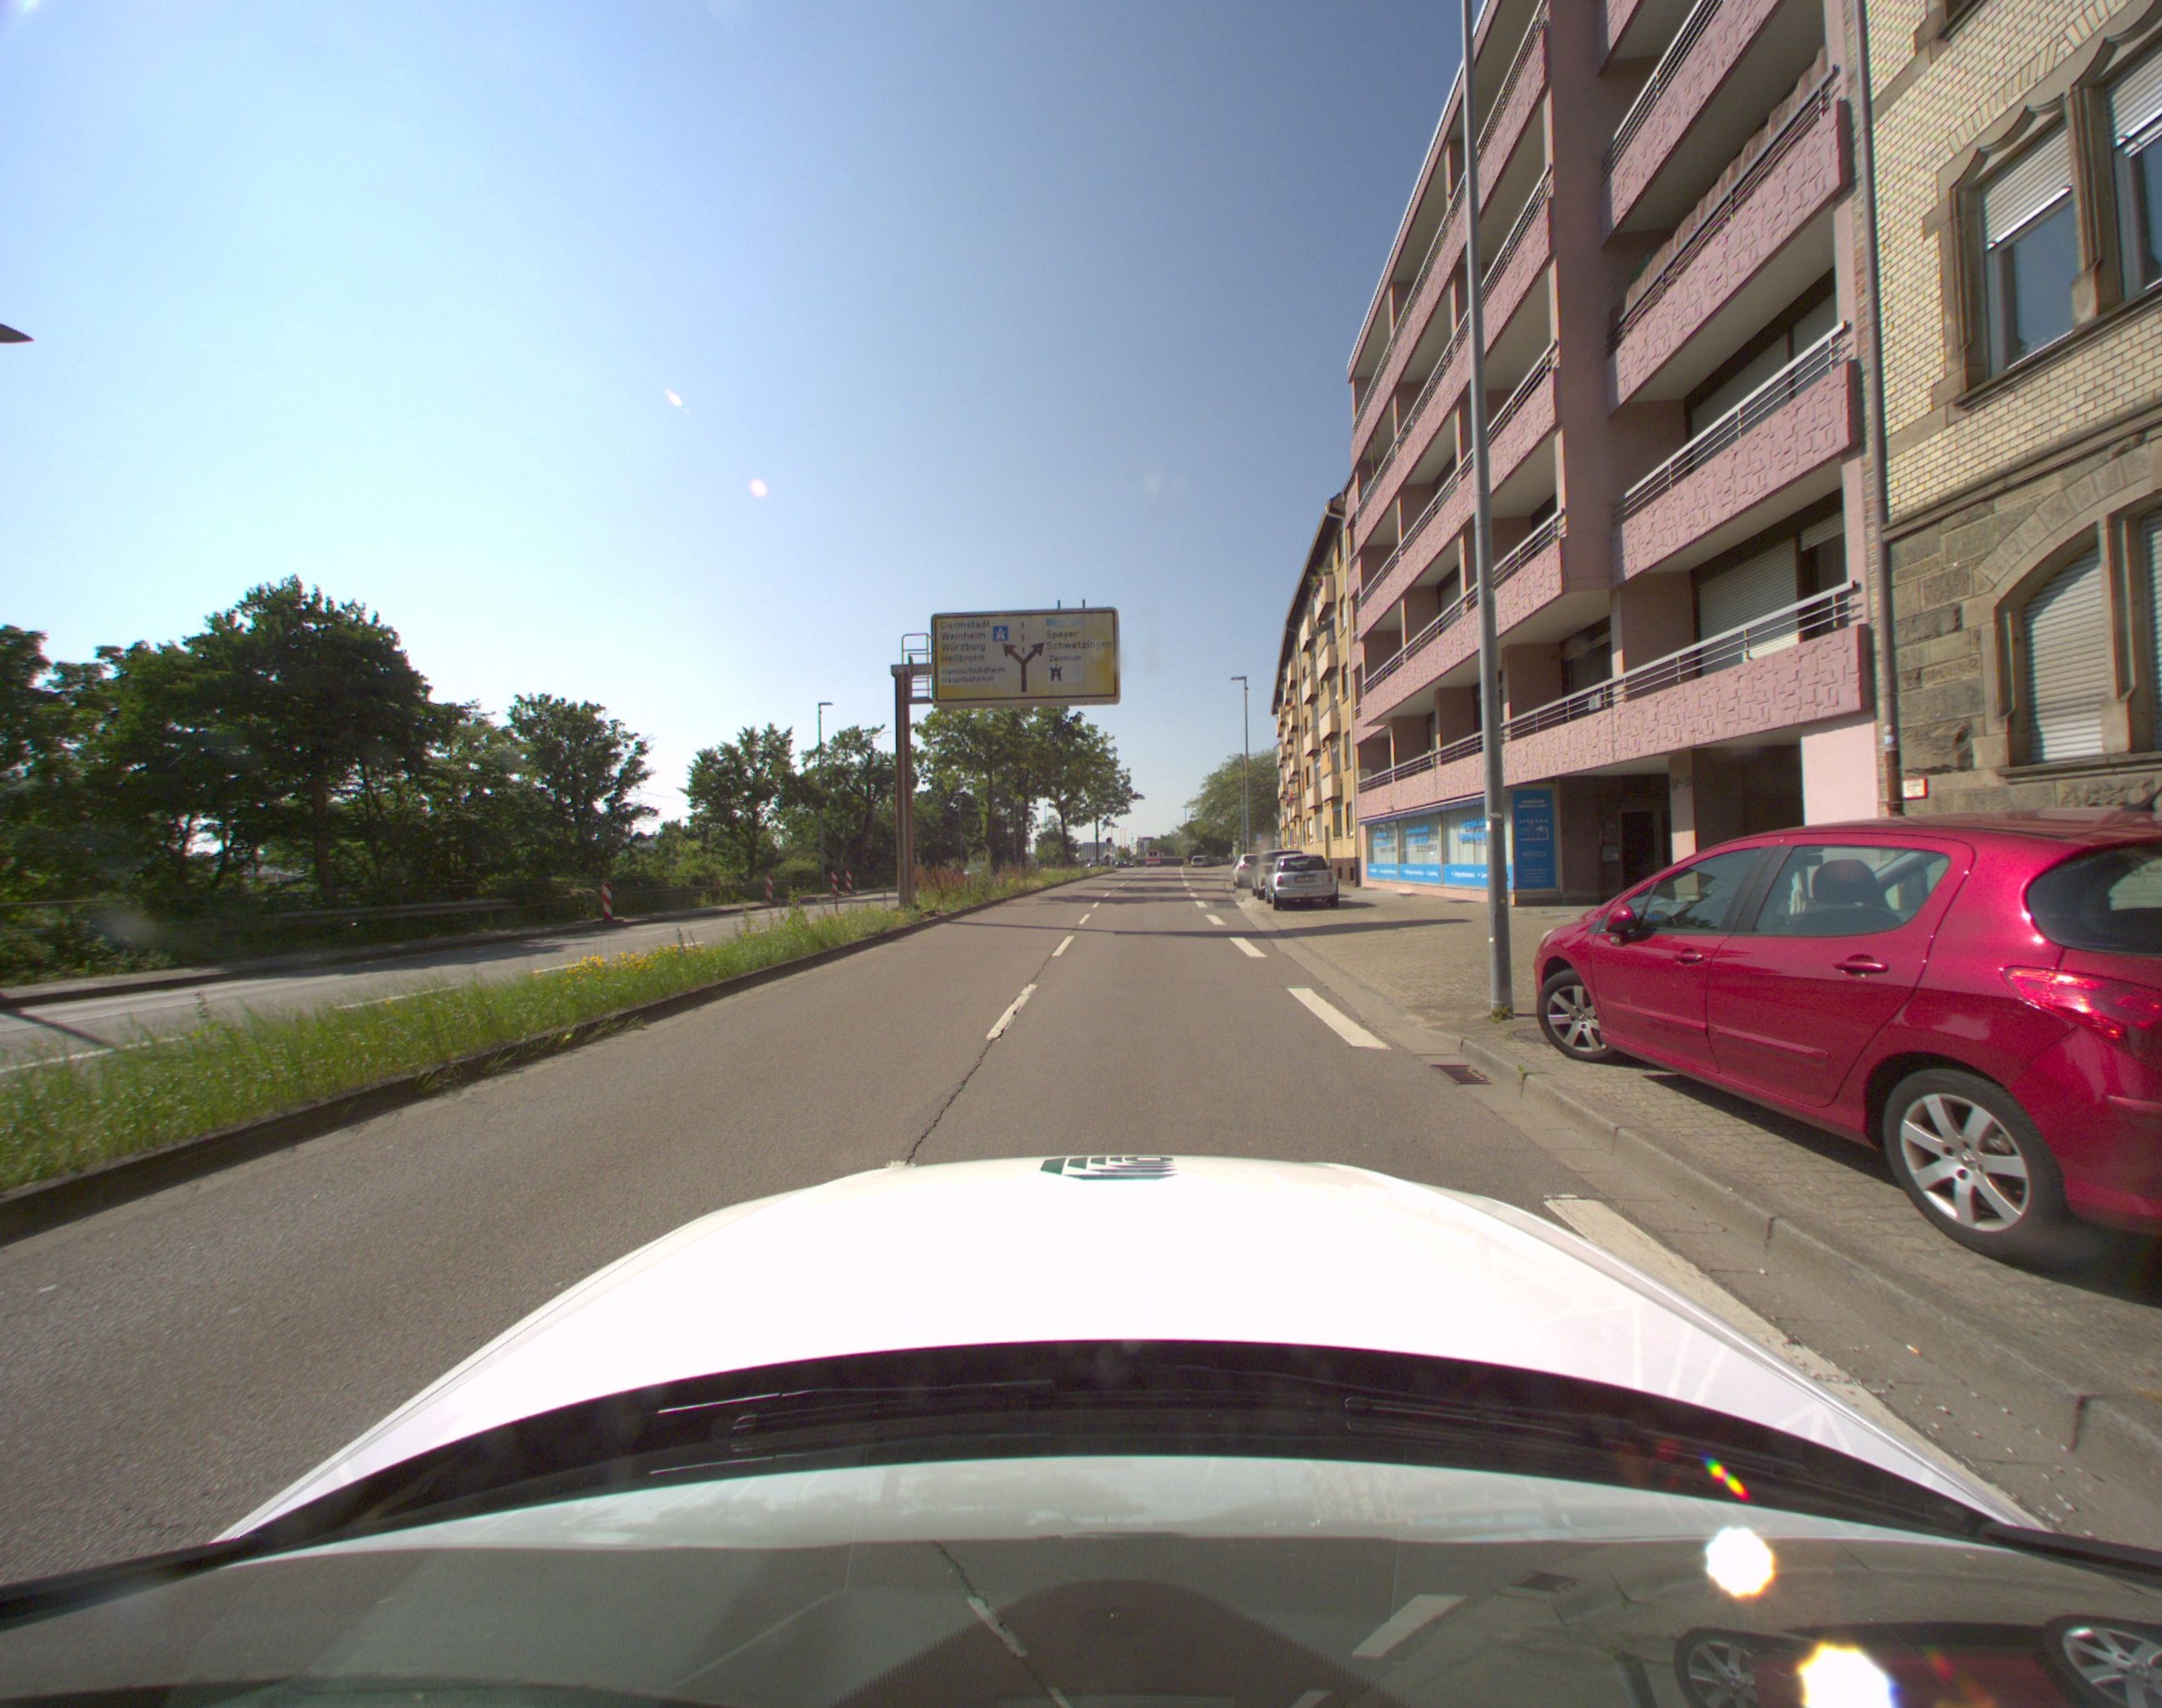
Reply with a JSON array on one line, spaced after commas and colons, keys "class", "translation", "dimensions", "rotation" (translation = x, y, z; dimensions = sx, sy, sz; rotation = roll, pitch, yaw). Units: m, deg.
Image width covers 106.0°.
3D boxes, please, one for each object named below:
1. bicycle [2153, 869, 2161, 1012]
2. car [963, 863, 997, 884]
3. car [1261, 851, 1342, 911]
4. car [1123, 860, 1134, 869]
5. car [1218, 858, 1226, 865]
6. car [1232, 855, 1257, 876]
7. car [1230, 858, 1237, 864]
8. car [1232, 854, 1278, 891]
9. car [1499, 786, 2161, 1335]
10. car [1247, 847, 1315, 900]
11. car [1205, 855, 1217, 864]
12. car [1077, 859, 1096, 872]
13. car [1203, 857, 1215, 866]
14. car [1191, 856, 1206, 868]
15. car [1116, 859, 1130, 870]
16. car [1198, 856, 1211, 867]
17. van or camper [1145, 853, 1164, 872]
[{"class": "bicycle", "translation": [7.545, 0.569, 4.582], "dimensions": [0.647, 0.970, 1.867], "rotation": [-2, -1, 6]}, {"class": "car", "translation": [-7.580, 1.461, 61.435], "dimensions": [1.638, 1.416, 3.975], "rotation": [-4, -1, 5]}, {"class": "car", "translation": [5.910, 0.690, 22.155], "dimensions": [1.668, 1.409, 3.439], "rotation": [-4, -1, 9]}, {"class": "car", "translation": [9.649, 2.035, 165.270], "dimensions": [1.983, 1.734, 4.739], "rotation": [-1, -1, 7]}, {"class": "car", "translation": [33.208, 1.768, 191.190], "dimensions": [1.652, 1.509, 4.022], "rotation": [1, 0, 12]}, {"class": "car", "translation": [12.294, 0.869, 61.408], "dimensions": [1.700, 1.462, 4.266], "rotation": [-2, 0, 9]}, {"class": "car", "translation": [47.226, 2.192, 252.740], "dimensions": [1.980, 1.657, 4.012], "rotation": [-1, -1, 11]}, {"class": "car", "translation": [7.886, 0.807, 37.213], "dimensions": [1.746, 1.506, 4.137], "rotation": [-2, 0, 8]}, {"class": "car", "translation": [3.923, 0.531, 4.080], "dimensions": [1.777, 1.482, 4.005], "rotation": [-3, -1, 4]}, {"class": "car", "translation": [6.517, 0.595, 26.945], "dimensions": [1.726, 1.541, 4.363], "rotation": [-2, -1, 8]}, {"class": "car", "translation": [22.184, 0.939, 138.994], "dimensions": [1.652, 1.512, 3.802], "rotation": [1, 0, 12]}, {"class": "car", "translation": [0.690, 1.372, 99.814], "dimensions": [1.788, 1.530, 4.008], "rotation": [-1, -1, 7]}, {"class": "car", "translation": [21.020, 1.231, 133.255], "dimensions": [1.652, 1.473, 3.802], "rotation": [1, 0, 12]}, {"class": "car", "translation": [15.603, 1.058, 107.932], "dimensions": [1.608, 1.505, 3.473], "rotation": [-2, -1, 12]}, {"class": "car", "translation": [6.315, 1.560, 121.862], "dimensions": [1.753, 1.474, 4.094], "rotation": [-2, -1, 8]}, {"class": "car", "translation": [17.924, 1.053, 117.839], "dimensions": [1.761, 1.579, 4.197], "rotation": [-2, -1, 9]}, {"class": "van or camper", "translation": [11.612, 1.356, 128.551], "dimensions": [2.281, 2.789, 5.587], "rotation": [-1, -1, 11]}]
